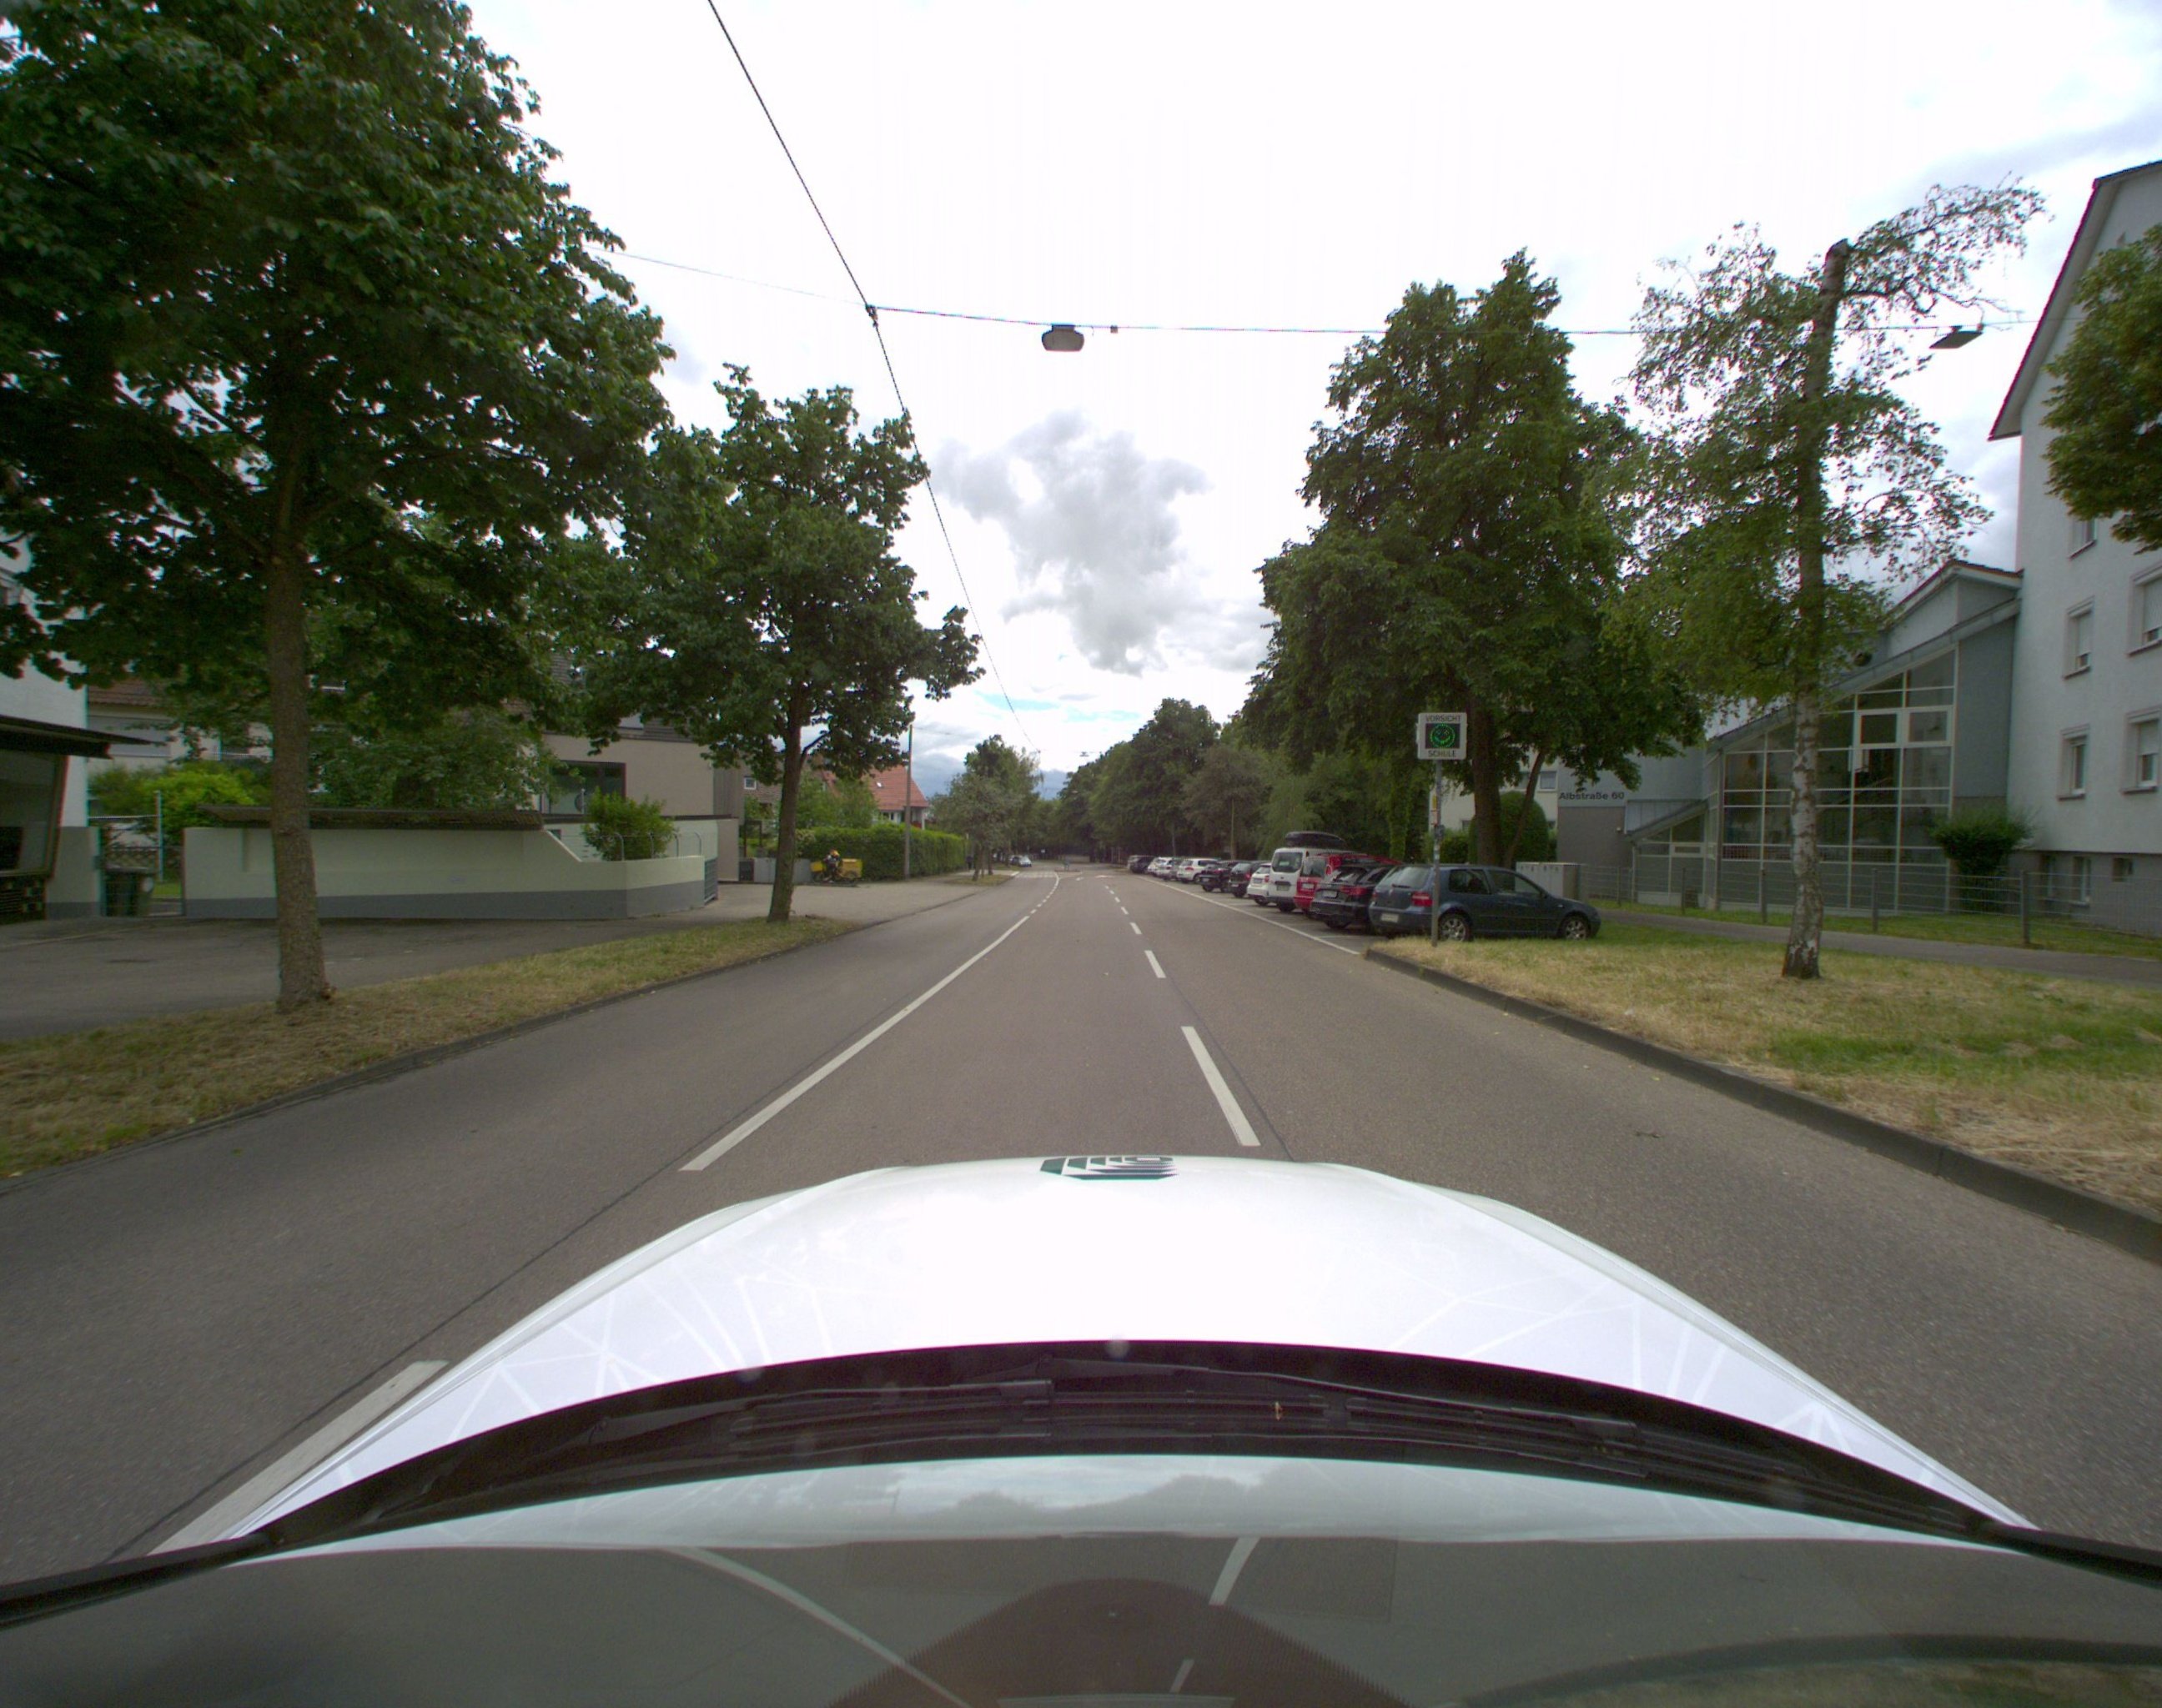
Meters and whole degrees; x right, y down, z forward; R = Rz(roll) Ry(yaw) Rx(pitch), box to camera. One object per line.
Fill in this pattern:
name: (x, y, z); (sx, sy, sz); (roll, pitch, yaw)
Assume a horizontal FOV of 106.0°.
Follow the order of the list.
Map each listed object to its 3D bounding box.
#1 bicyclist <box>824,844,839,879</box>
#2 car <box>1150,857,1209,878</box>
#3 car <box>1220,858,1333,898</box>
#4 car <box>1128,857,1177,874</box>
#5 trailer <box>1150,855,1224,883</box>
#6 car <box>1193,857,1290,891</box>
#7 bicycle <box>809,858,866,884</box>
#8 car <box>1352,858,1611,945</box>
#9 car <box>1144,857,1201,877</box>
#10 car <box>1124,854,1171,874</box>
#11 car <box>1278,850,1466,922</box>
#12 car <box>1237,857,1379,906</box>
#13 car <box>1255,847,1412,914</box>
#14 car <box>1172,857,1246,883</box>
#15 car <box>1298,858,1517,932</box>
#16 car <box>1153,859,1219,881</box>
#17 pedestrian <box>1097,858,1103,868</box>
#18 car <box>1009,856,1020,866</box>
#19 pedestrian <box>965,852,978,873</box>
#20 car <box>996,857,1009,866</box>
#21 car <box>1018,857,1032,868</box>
bicyclist: (-12.276, 0.383, 40.081); (0.713, 1.697, 0.843); (1, 0, -17)
car: (7.040, 0.959, 58.283); (3.895, 1.429, 1.733); (1, 0, -18)
car: (7.535, 0.917, 31.473); (3.895, 1.449, 1.833); (2, -1, -19)
car: (6.218, 1.027, 70.875); (3.895, 1.429, 1.733); (1, 0, -18)
trailer: (6.451, 0.911, 49.815); (4.165, 1.573, 1.702); (2, -1, -18)
car: (7.184, 0.912, 36.482); (3.900, 1.449, 1.830); (1, 0, -22)
bicycle: (-12.014, 0.850, 40.188); (2.651, 1.266, 0.842); (1, 0, -19)
car: (7.139, 0.831, 14.636); (3.969, 1.405, 1.749); (2, 0, -14)
car: (6.822, 0.955, 60.863); (3.895, 1.429, 1.733); (1, 0, -18)
car: (5.998, 0.892, 73.669); (3.895, 1.668, 1.733); (1, 0, -18)
car: (7.142, 0.773, 20.111); (4.003, 1.620, 1.875); (2, 0, -15)
car: (7.274, 0.885, 26.223); (3.972, 1.449, 1.909); (2, -1, -14)
car: (7.156, 0.731, 23.026); (4.106, 1.754, 1.772); (2, 0, -25)
car: (7.487, 0.948, 47.622); (3.897, 1.449, 1.732); (1, 0, -20)
car: (6.778, 0.841, 16.983); (4.036, 1.405, 1.747); (2, 0, -17)
car: (6.785, 1.029, 52.498); (3.901, 1.309, 1.730); (1, 0, -23)
pedestrian: (3.001, 1.403, 128.610); (0.736, 1.570, 0.654); (0, -1, 12)
car: (-10.663, 1.121, 130.477); (1.864, 1.471, 3.992); (0, 0, -5)
pedestrian: (-9.237, 0.731, 68.771); (0.972, 1.730, 0.848); (0, 0, -3)
car: (-13.706, 1.303, 141.439); (1.868, 1.471, 3.984); (0, 0, -11)
car: (-7.800, 1.133, 113.096); (1.864, 1.471, 3.992); (0, 0, -5)
